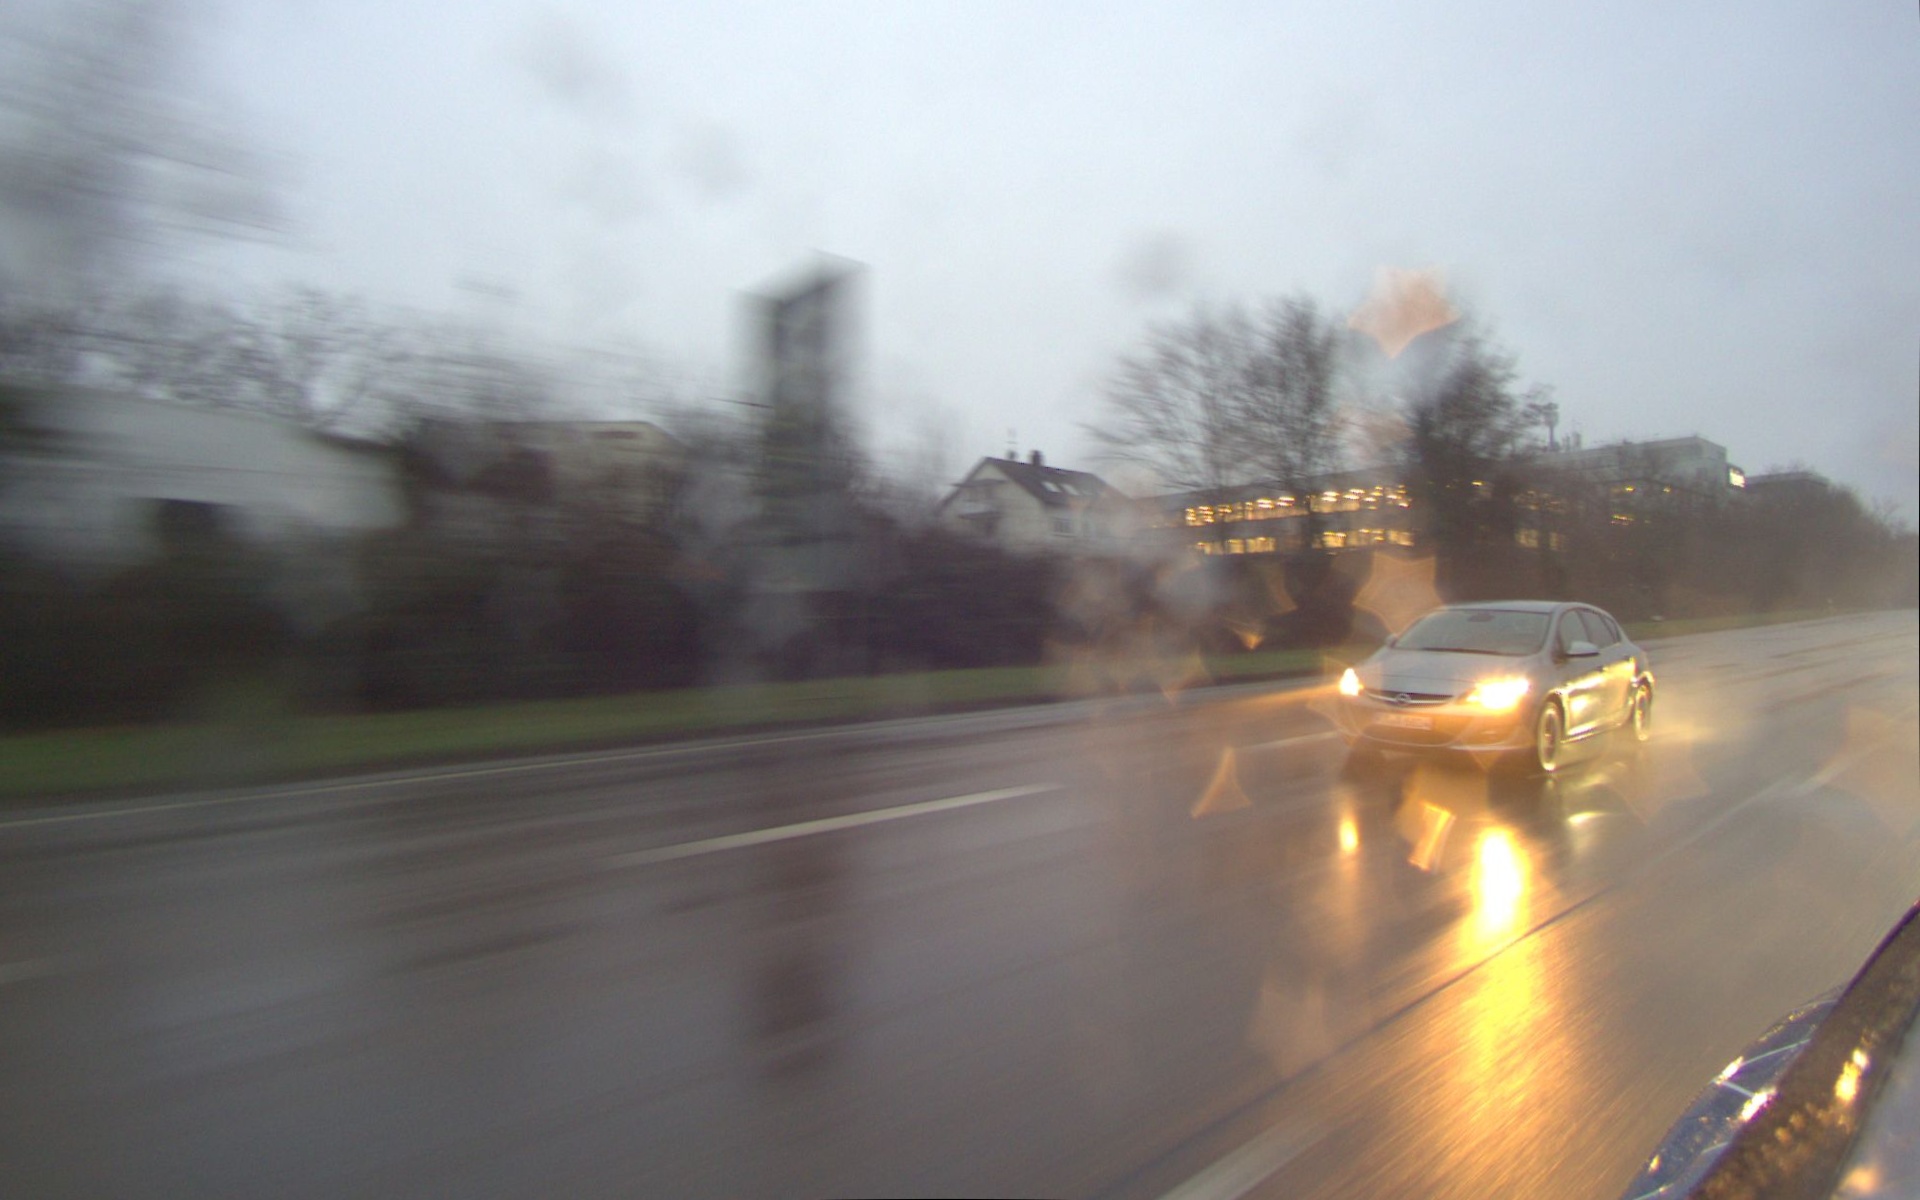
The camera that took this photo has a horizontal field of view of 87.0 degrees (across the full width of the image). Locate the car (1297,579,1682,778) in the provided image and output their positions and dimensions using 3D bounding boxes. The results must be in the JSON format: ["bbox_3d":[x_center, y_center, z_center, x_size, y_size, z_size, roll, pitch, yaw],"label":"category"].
[{"bbox_3d":[5.317,0.591,9.940,4.186,1.520,1.853,-1,0,-40],"label":"car"}]
